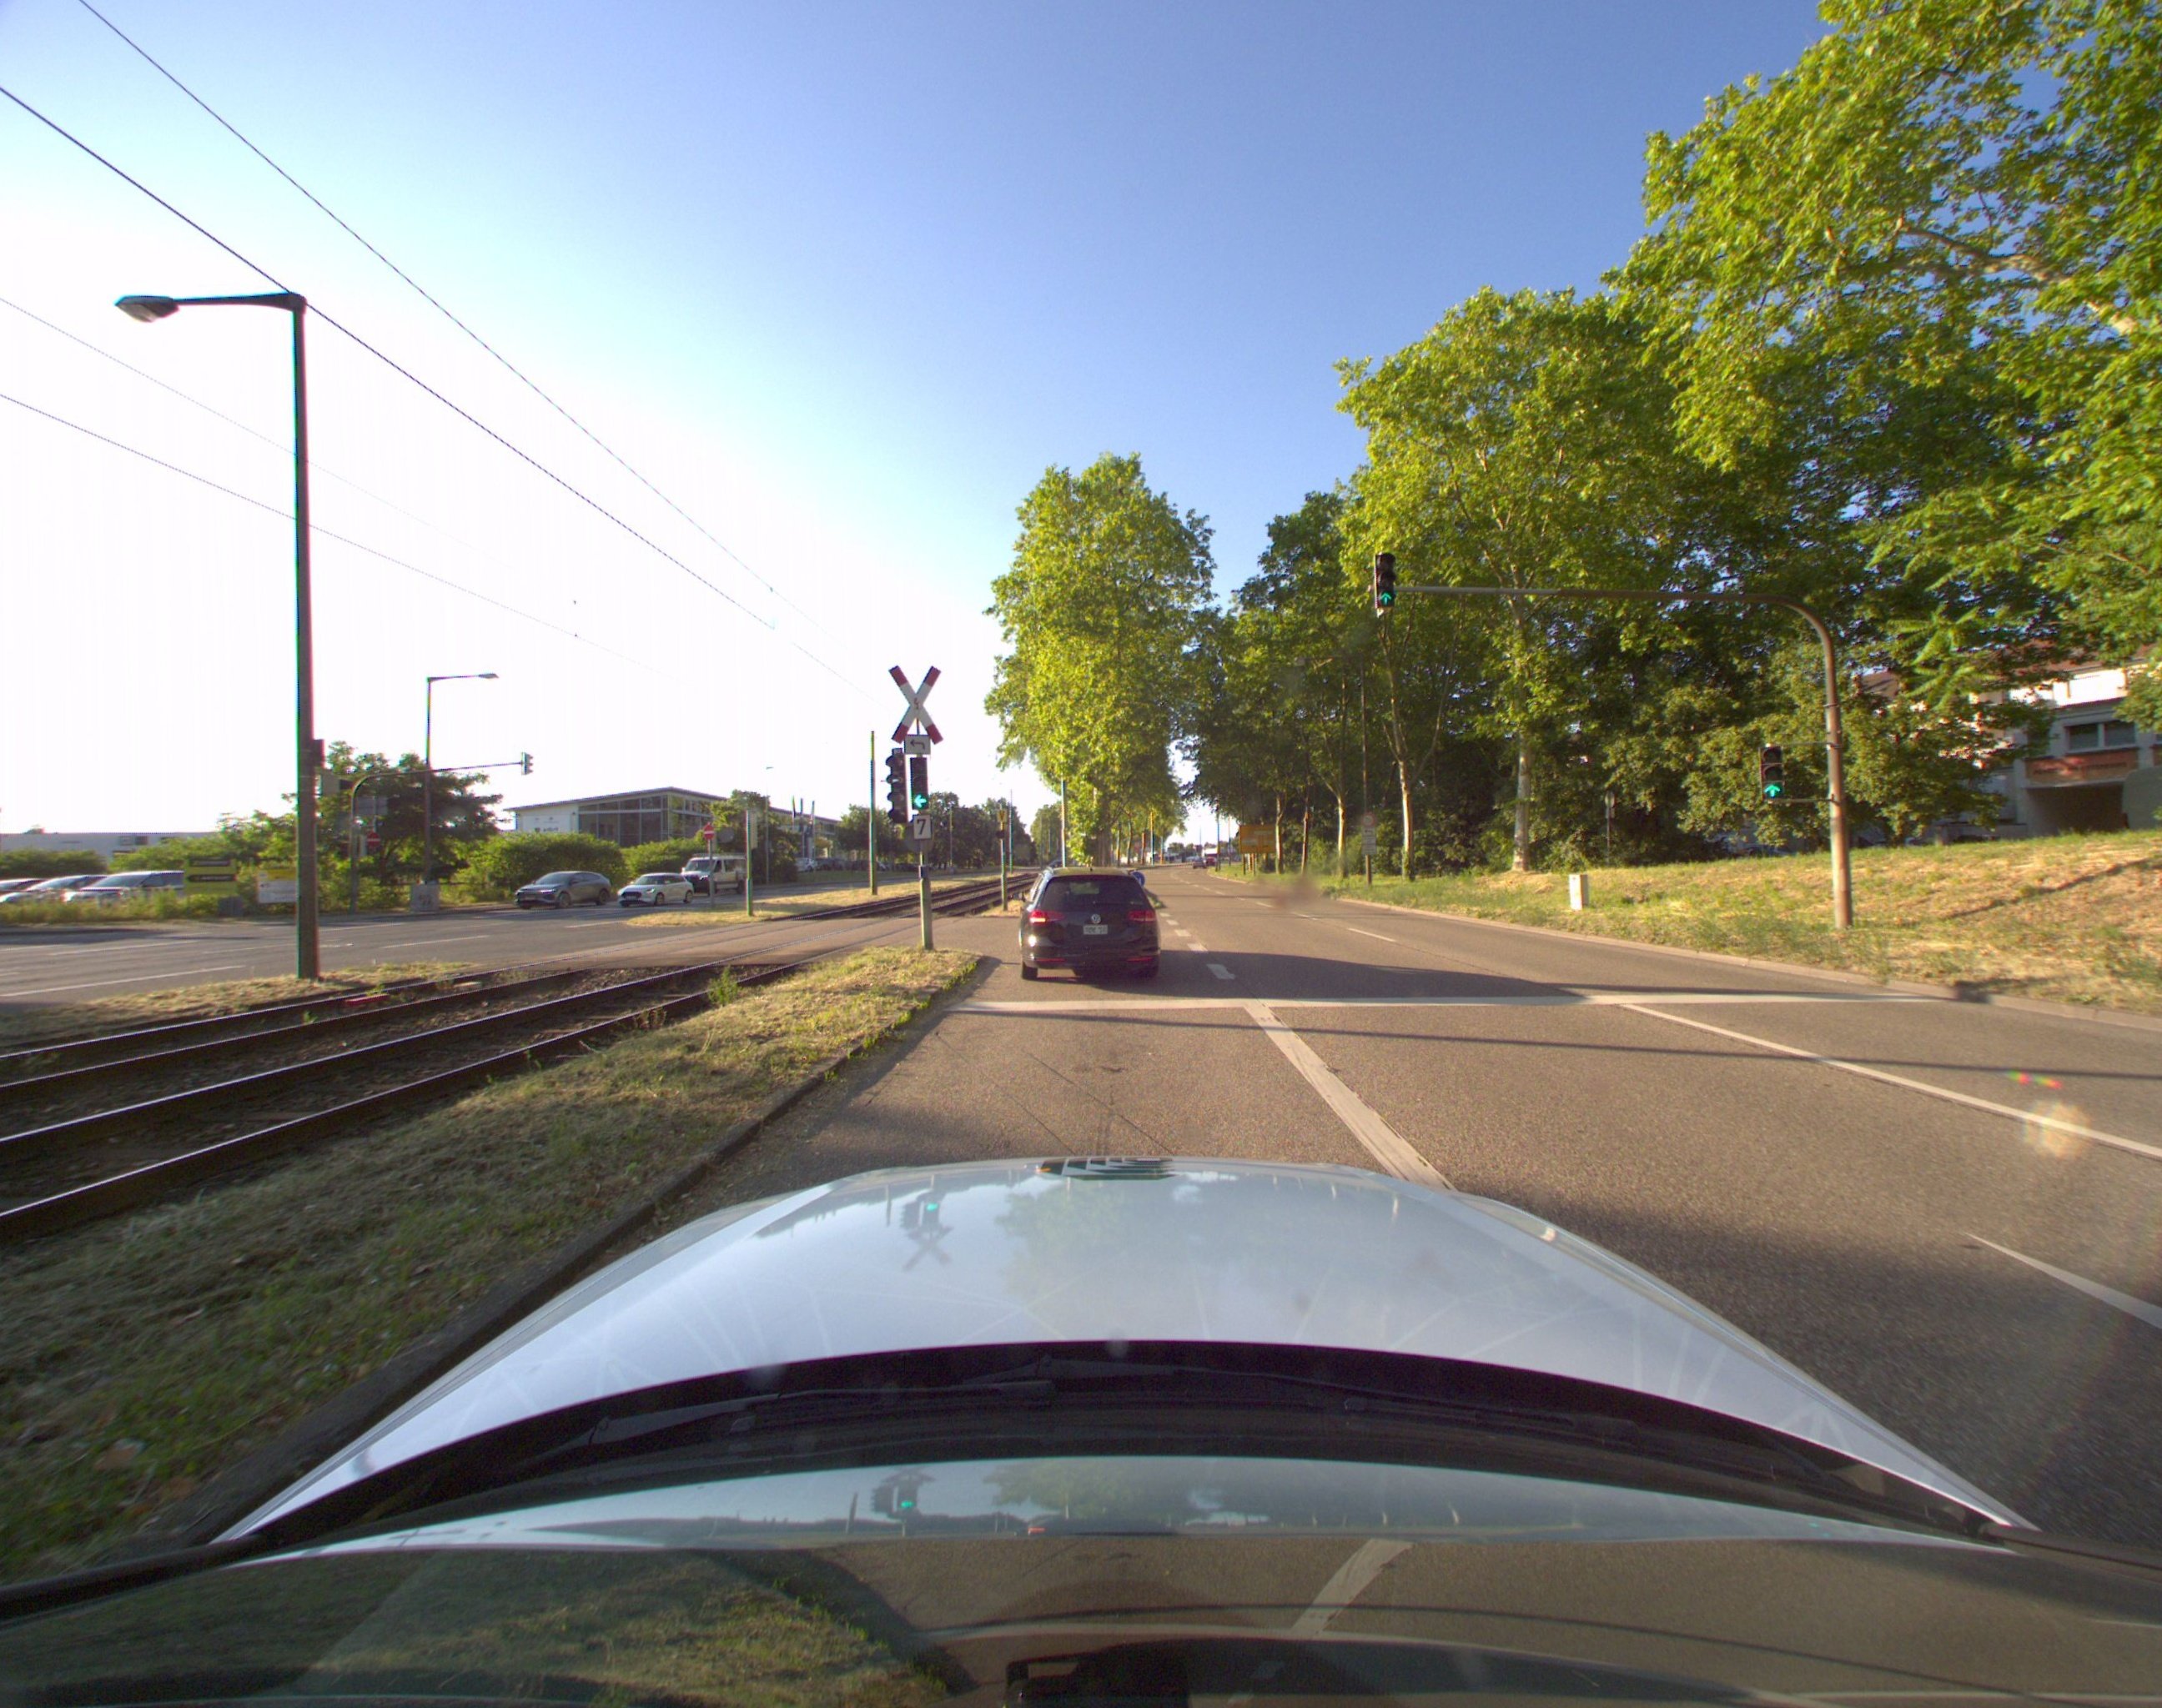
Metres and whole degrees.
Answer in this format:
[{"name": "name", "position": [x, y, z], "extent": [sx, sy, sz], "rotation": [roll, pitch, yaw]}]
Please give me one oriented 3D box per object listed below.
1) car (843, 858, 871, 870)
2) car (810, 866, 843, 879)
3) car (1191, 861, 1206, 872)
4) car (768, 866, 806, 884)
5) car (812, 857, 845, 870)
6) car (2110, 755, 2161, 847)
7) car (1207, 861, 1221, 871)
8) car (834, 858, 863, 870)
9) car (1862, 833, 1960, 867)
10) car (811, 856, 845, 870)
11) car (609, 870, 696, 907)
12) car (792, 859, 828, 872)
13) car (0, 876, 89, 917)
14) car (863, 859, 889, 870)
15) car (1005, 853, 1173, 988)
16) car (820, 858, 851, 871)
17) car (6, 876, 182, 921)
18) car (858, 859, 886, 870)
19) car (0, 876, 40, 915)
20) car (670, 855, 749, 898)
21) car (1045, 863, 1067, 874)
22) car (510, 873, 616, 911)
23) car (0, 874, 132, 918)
[{"name": "car", "position": [-31.120, 1.378, 113.237], "extent": [3.796, 1.567, 1.749], "rotation": [0, -1, -17]}, {"name": "car", "position": [-30.608, 2.250, 98.134], "extent": [3.796, 1.567, 1.749], "rotation": [0, -1, -17]}, {"name": "car", "position": [17.300, 1.829, 119.476], "extent": [1.980, 1.442, 4.012], "rotation": [-1, -1, 11]}, {"name": "car", "position": [-31.713, 2.262, 87.938], "extent": [3.796, 1.860, 1.749], "rotation": [0, -1, -17]}, {"name": "car", "position": [-31.329, 1.159, 101.118], "extent": [3.796, 1.567, 1.749], "rotation": [0, -1, -17]}, {"name": "car", "position": [30.717, -1.524, 20.958], "extent": [1.791, 2.513, 5.639], "rotation": [0, -1, 7]}, {"name": "car", "position": [21.106, 1.917, 129.276], "extent": [1.981, 1.440, 4.012], "rotation": [-1, -1, 11]}, {"name": "car", "position": [-31.334, 1.318, 109.851], "extent": [3.796, 1.567, 1.749], "rotation": [0, -1, -17]}, {"name": "car", "position": [43.932, -0.201, 43.140], "extent": [3.993, 1.706, 1.909], "rotation": [0, -1, -15]}, {"name": "car", "position": [-29.654, 1.046, 95.487], "extent": [3.796, 1.567, 1.749], "rotation": [0, -1, -17]}, {"name": "car", "position": [-19.856, 1.560, 37.934], "extent": [1.863, 1.618, 4.001], "rotation": [-1, -1, 2]}, {"name": "car", "position": [-30.457, 1.268, 91.551], "extent": [3.796, 1.388, 1.749], "rotation": [0, -1, -17]}, {"name": "car", "position": [-44.574, 1.753, 33.528], "extent": [2.106, 1.648, 4.321], "rotation": [0, -1, 1]}, {"name": "car", "position": [-30.763, 1.539, 122.197], "extent": [3.796, 1.567, 1.749], "rotation": [0, -1, -17]}, {"name": "car", "position": [-0.085, 0.813, 11.736], "extent": [1.823, 1.556, 4.246], "rotation": [0, -1, -8]}, {"name": "car", "position": [-31.349, 1.350, 103.990], "extent": [3.796, 1.567, 1.749], "rotation": [0, -1, -17]}, {"name": "car", "position": [-39.533, 1.731, 32.794], "extent": [2.106, 1.648, 4.000], "rotation": [0, -1, 1]}, {"name": "car", "position": [-30.647, 1.487, 119.402], "extent": [3.796, 1.567, 1.749], "rotation": [0, -1, -17]}, {"name": "car", "position": [-46.831, 1.767, 33.586], "extent": [2.106, 1.648, 4.321], "rotation": [0, -1, 1]}, {"name": "car", "position": [-23.281, 1.388, 51.339], "extent": [1.995, 2.566, 5.880], "rotation": [-1, -1, 3]}, {"name": "car", "position": [-3.865, 2.224, 126.626], "extent": [1.792, 1.684, 4.023], "rotation": [-1, -1, 25]}, {"name": "car", "position": [-23.771, 1.692, 37.633], "extent": [1.863, 1.618, 4.549], "rotation": [-1, -1, 2]}, {"name": "car", "position": [-42.300, 1.679, 33.356], "extent": [2.106, 1.648, 4.000], "rotation": [0, -1, 1]}]
